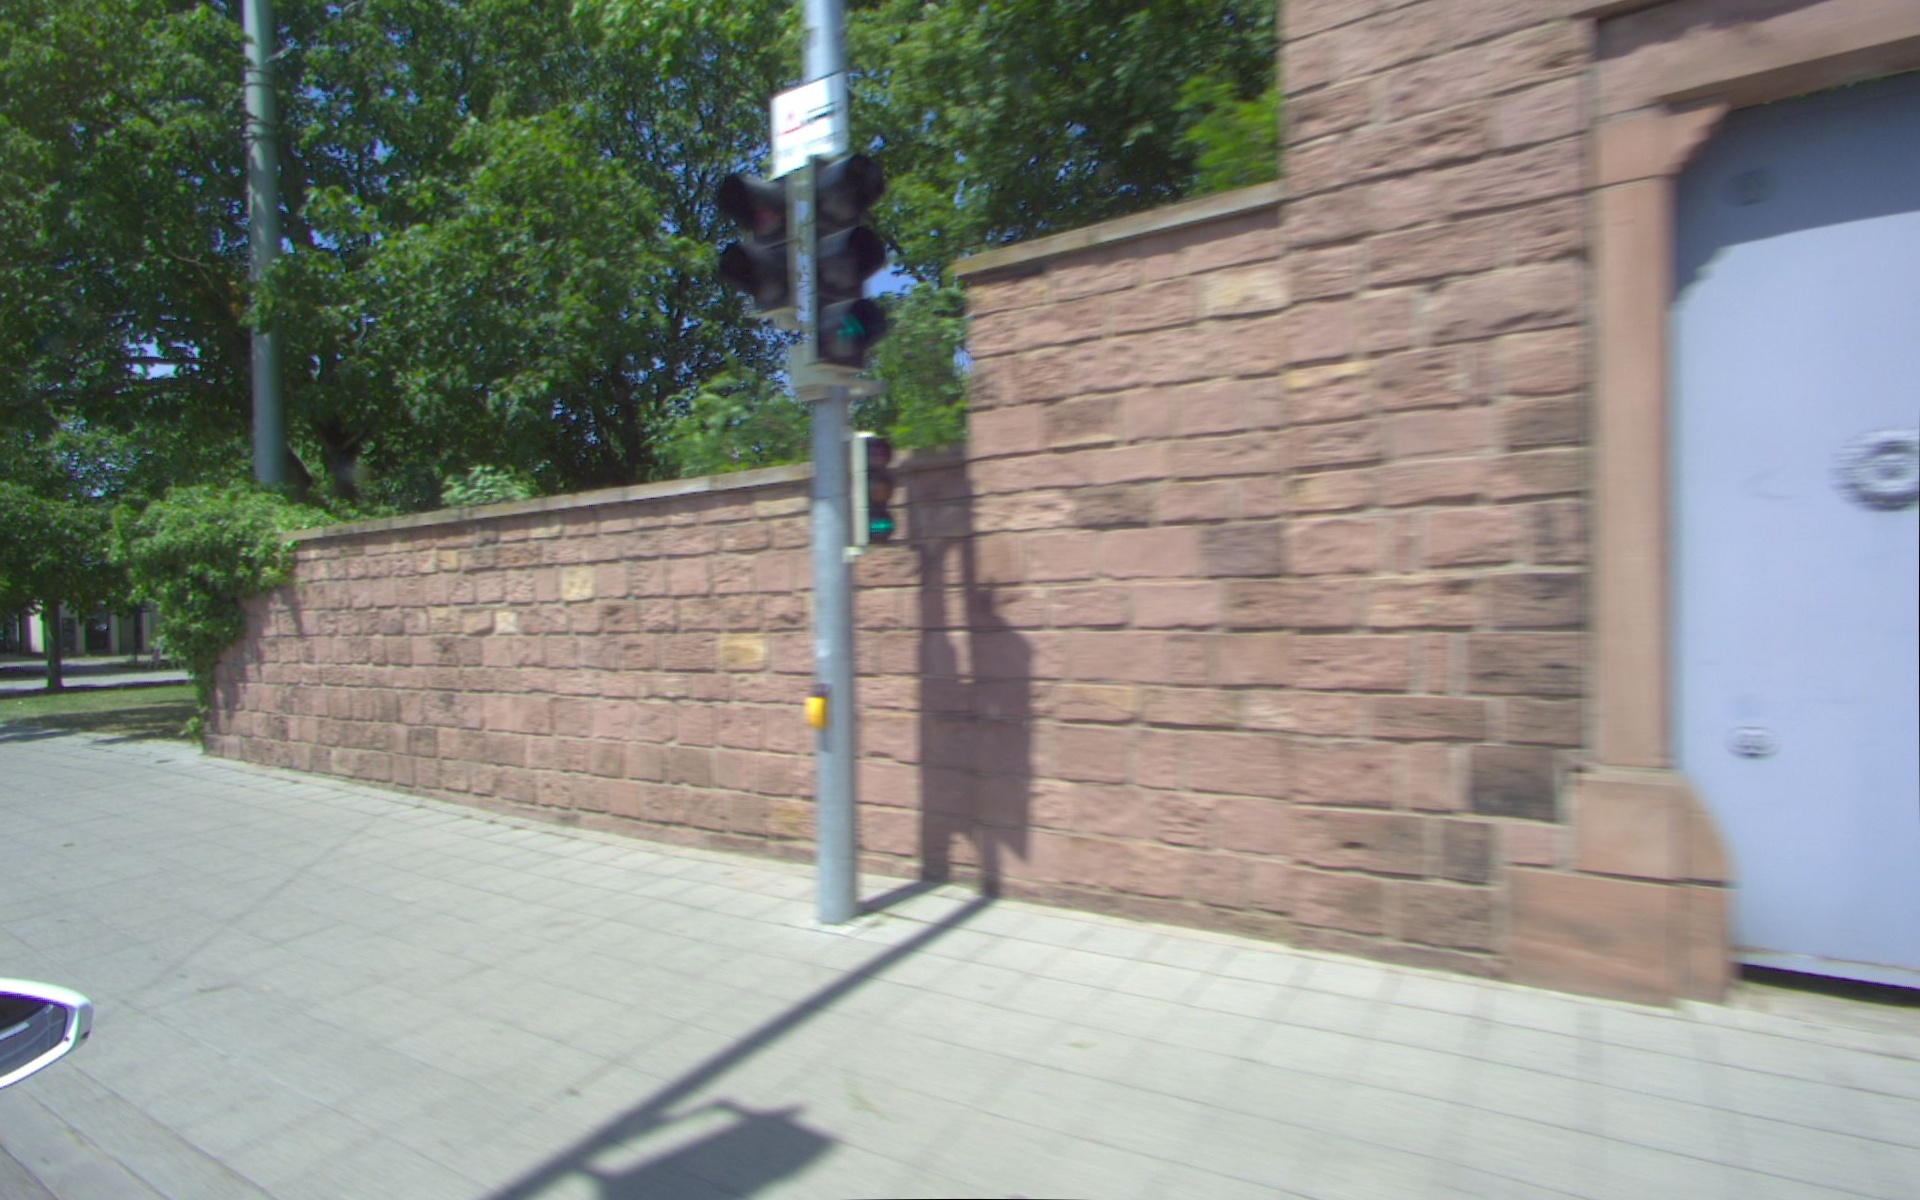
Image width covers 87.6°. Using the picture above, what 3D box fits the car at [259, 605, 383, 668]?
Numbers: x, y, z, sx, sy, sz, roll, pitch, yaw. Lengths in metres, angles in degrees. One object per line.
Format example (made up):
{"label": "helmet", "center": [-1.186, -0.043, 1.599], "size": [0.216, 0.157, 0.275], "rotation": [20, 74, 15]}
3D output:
{"label": "car", "center": [-22.282, 1.254, 35.029], "size": [1.444, 2.040, 3.323], "rotation": [-2, -1, 33]}
